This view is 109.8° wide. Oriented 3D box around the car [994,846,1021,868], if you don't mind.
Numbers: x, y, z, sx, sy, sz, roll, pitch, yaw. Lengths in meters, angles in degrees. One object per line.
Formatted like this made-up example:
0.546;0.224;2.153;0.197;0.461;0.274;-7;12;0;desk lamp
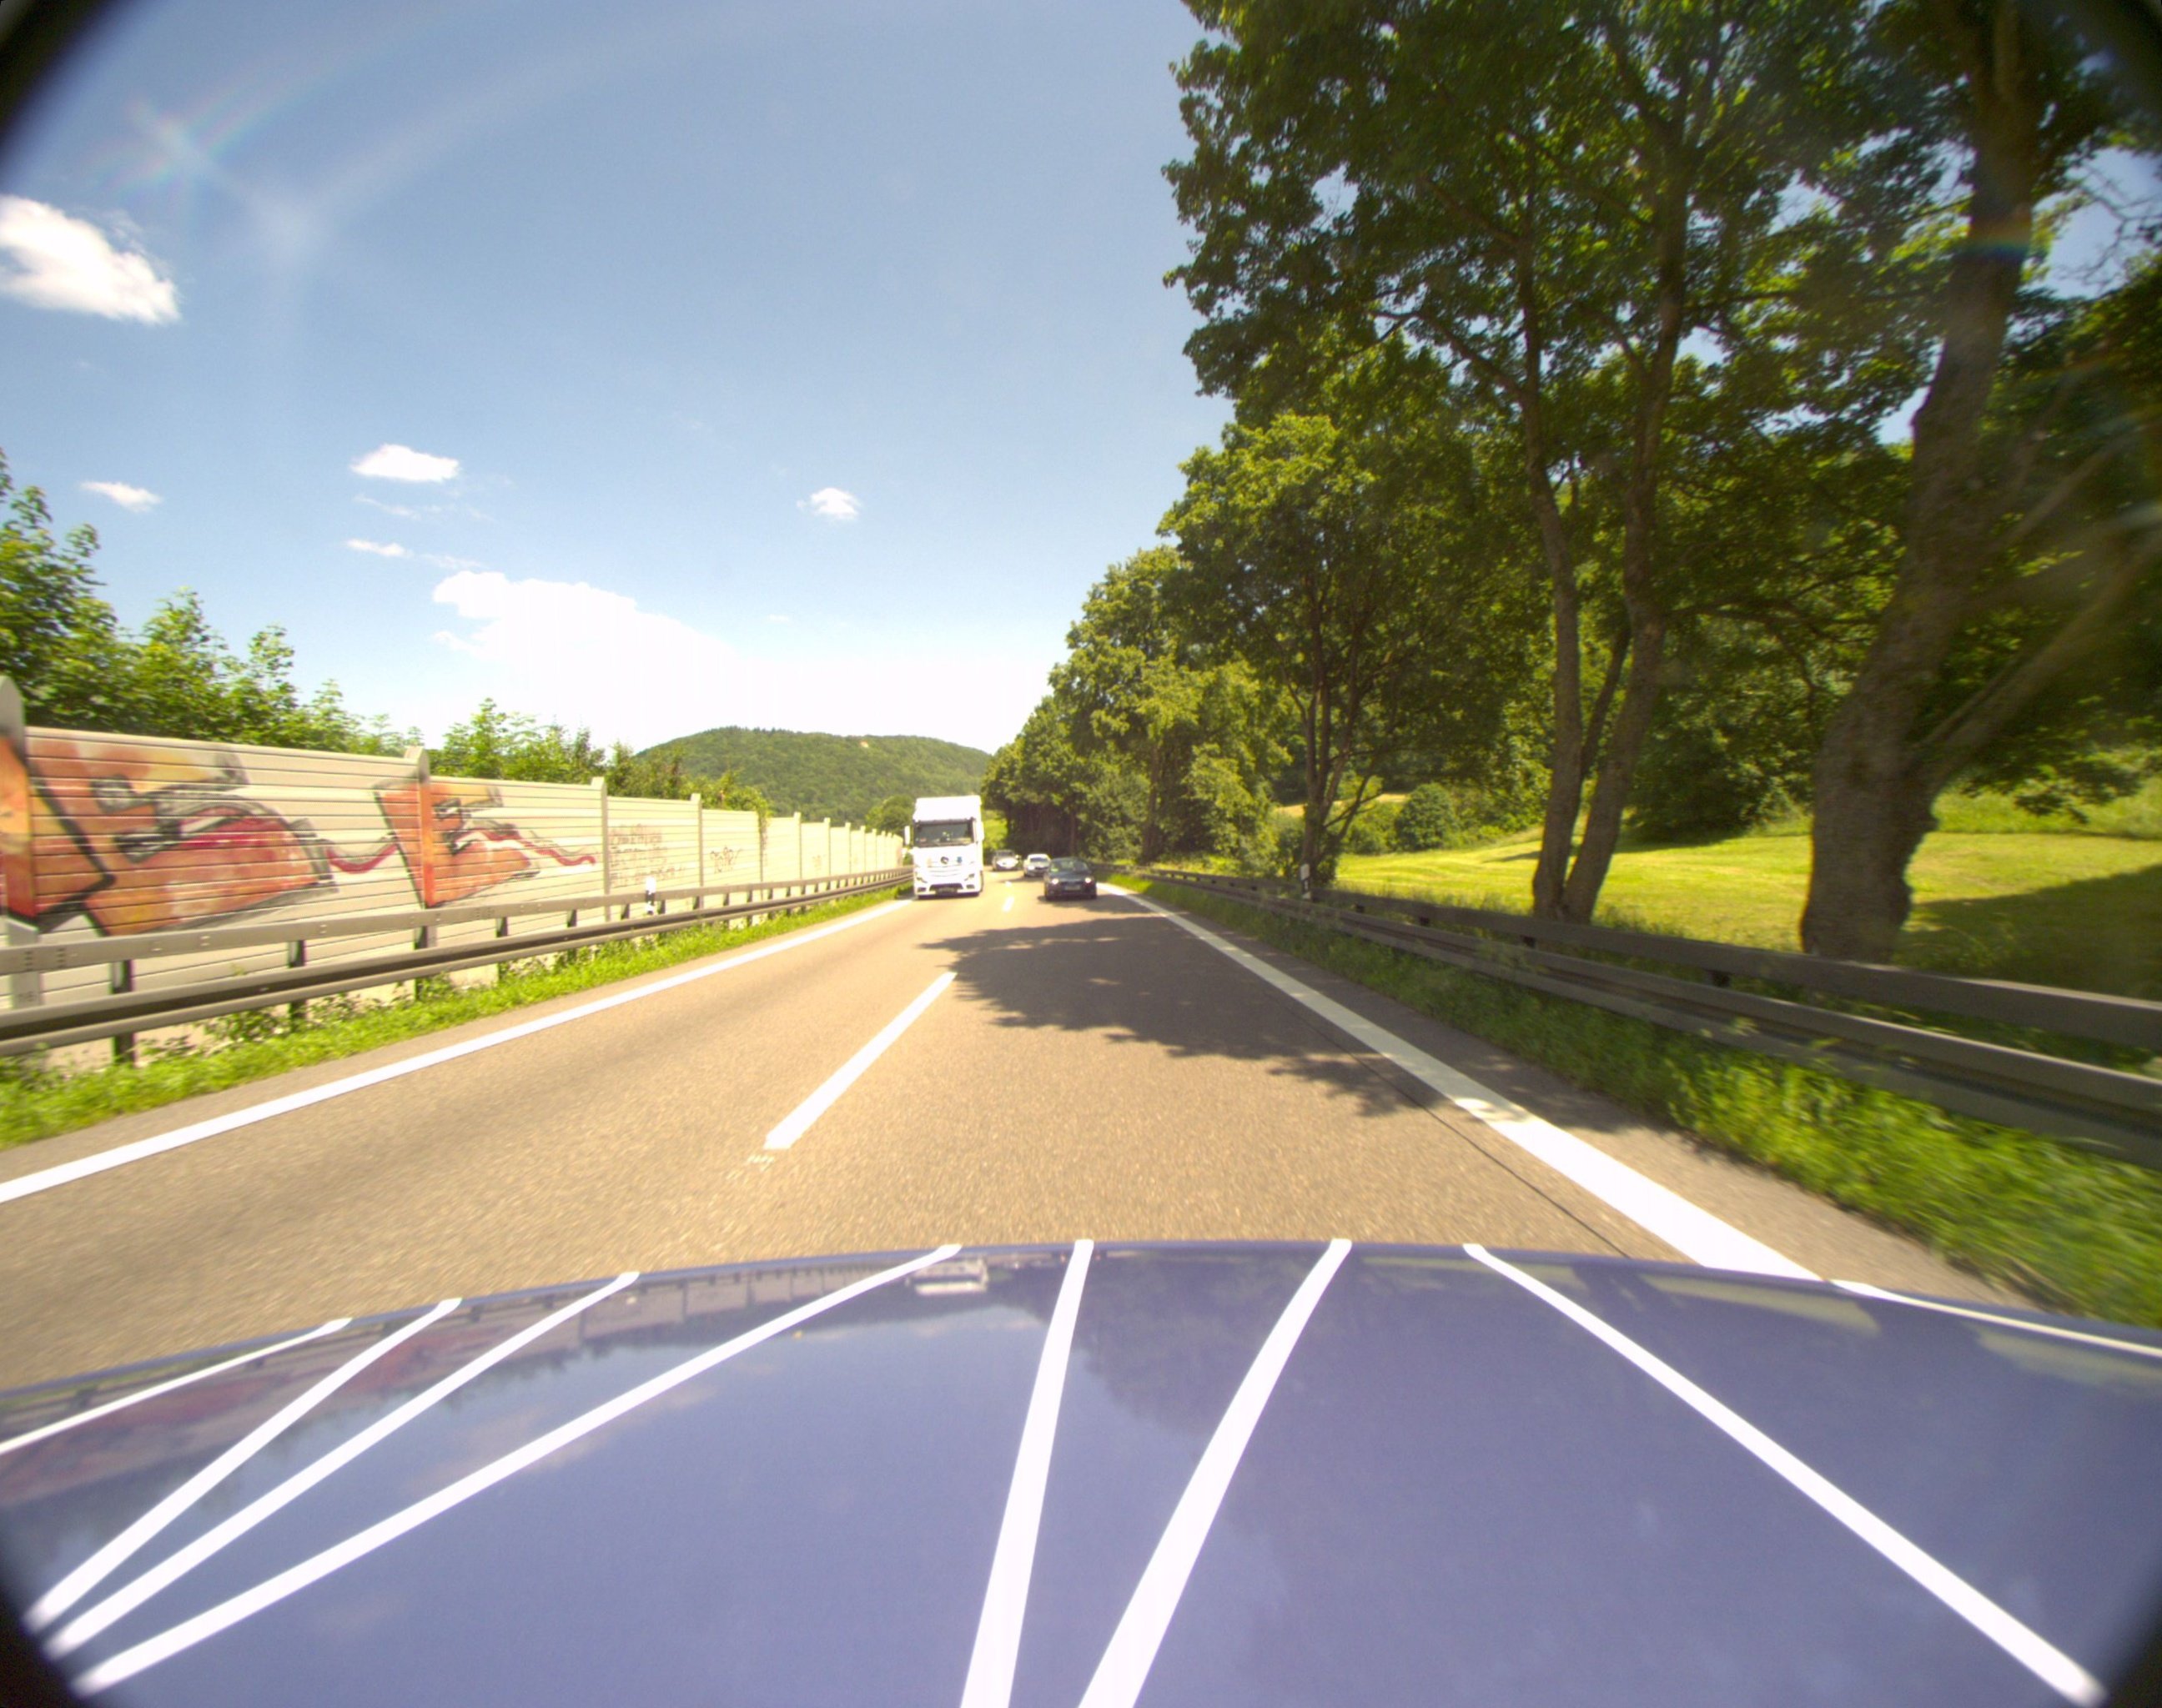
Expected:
-6.644;0.287;68.306;2.045;1.855;3.996;-1;0;-11;car

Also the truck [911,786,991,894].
-5.294;-0.537;32.048;2.765;4.015;6.820;-1;0;-6;truck

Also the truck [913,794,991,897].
-5.965;-0.383;36.976;2.863;4.124;12.039;-2;1;-6;truck

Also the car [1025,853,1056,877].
-2.780;0.704;51.462;1.716;1.541;3.996;0;0;-9;car

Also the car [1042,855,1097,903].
-0.322;0.804;26.162;1.662;1.436;3.475;-3;1;2;car
